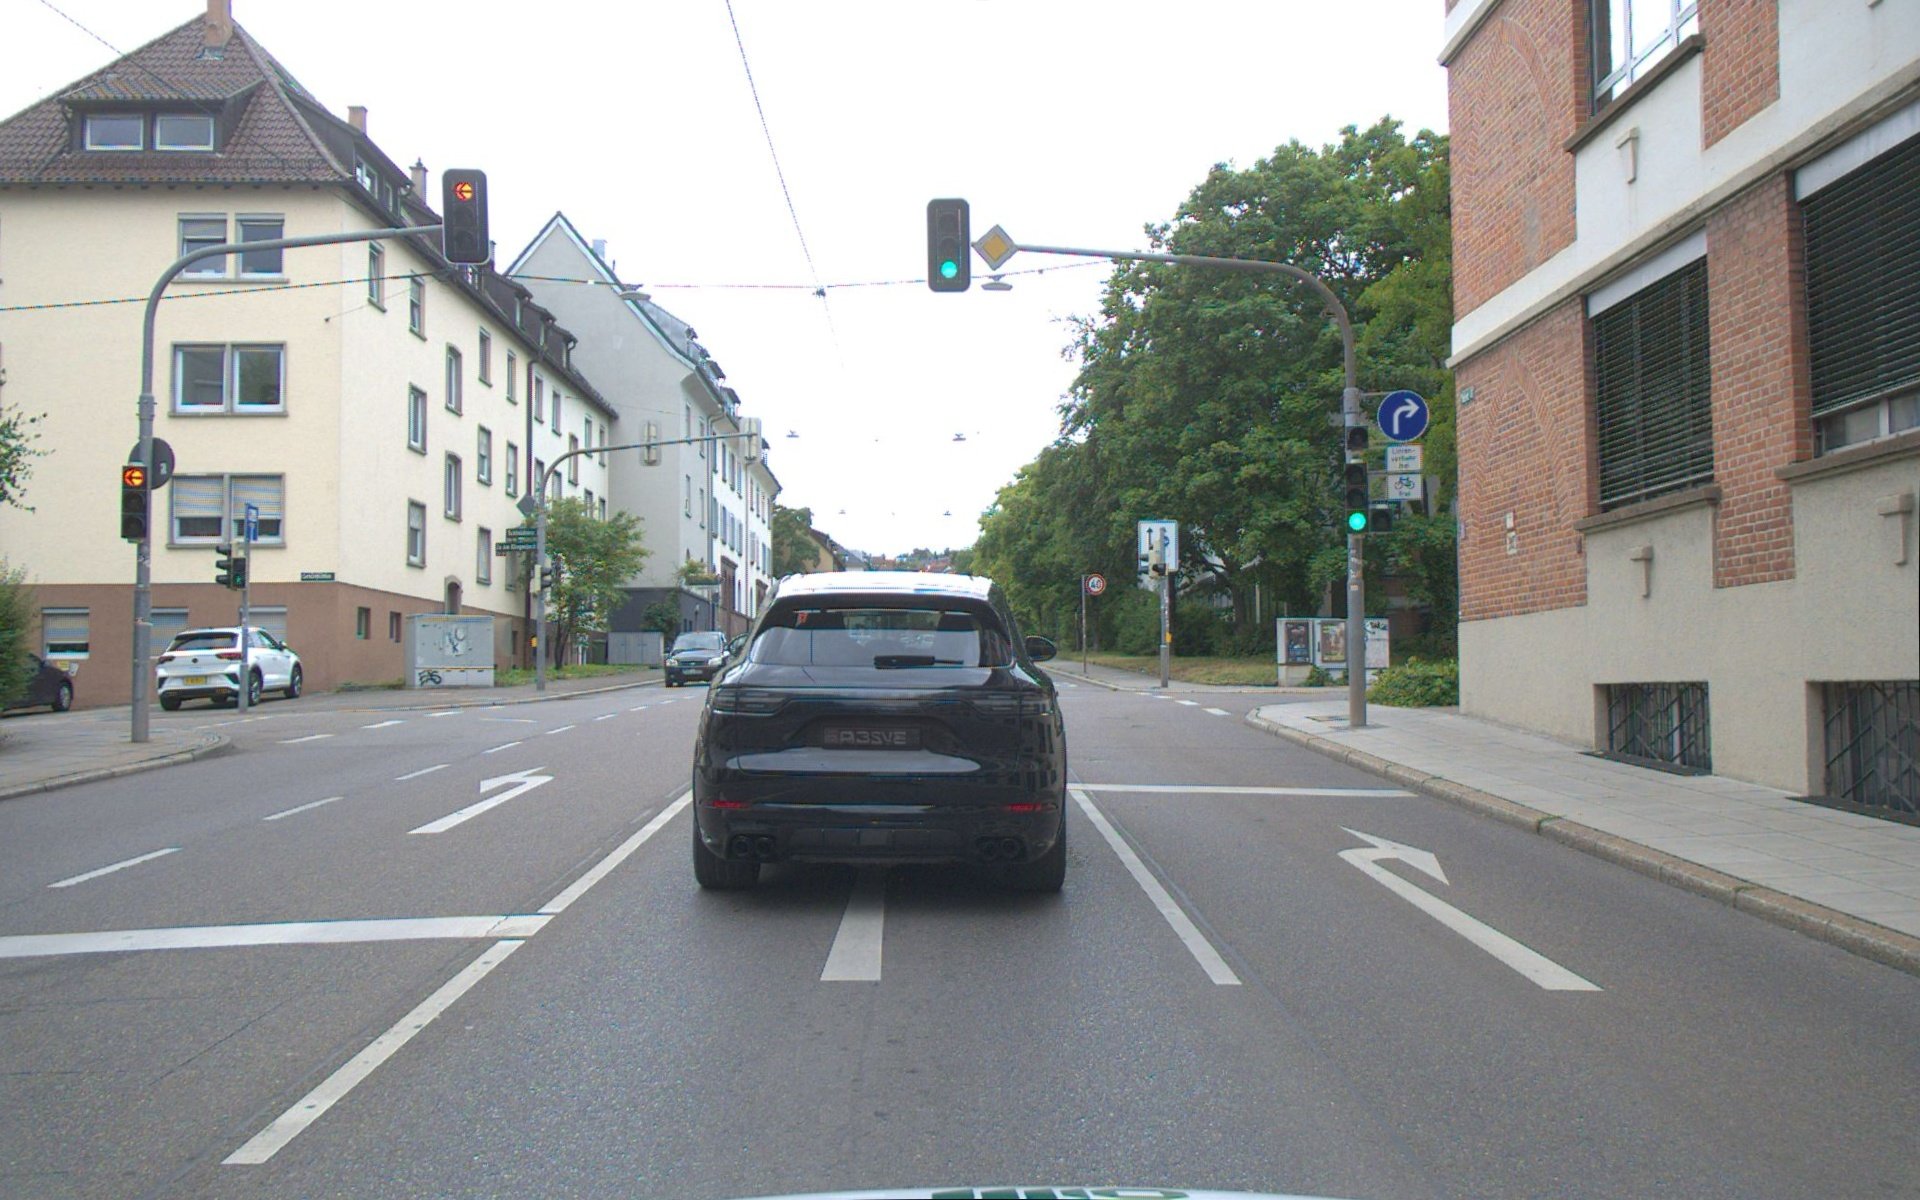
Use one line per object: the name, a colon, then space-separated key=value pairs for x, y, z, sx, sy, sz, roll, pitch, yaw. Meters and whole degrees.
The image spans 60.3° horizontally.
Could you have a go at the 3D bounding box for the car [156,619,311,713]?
car: x=-14.739 y=1.284 z=33.771 sx=1.637 sy=1.691 sz=3.995 roll=-3 pitch=0 yaw=-5

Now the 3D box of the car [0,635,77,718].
car: x=-19.708 y=1.576 z=33.288 sx=1.636 sy=1.573 sz=4.100 roll=-3 pitch=0 yaw=-1

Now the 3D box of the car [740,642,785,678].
car: x=-8.285 y=2.512 z=69.532 sx=1.637 sy=1.386 sz=3.997 roll=0 pitch=0 yaw=-4

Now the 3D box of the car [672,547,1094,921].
car: x=-0.385 y=0.639 z=9.764 sx=1.953 sy=1.726 sz=3.999 roll=1 pitch=0 yaw=-1

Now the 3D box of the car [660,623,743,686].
car: x=-7.084 y=1.462 z=45.588 sx=1.630 sy=1.545 sz=3.739 roll=-4 pitch=0 yaw=0

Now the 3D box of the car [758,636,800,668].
car: x=-8.395 y=2.381 z=76.941 sx=1.636 sy=1.386 sz=3.998 roll=0 pitch=0 yaw=-3
